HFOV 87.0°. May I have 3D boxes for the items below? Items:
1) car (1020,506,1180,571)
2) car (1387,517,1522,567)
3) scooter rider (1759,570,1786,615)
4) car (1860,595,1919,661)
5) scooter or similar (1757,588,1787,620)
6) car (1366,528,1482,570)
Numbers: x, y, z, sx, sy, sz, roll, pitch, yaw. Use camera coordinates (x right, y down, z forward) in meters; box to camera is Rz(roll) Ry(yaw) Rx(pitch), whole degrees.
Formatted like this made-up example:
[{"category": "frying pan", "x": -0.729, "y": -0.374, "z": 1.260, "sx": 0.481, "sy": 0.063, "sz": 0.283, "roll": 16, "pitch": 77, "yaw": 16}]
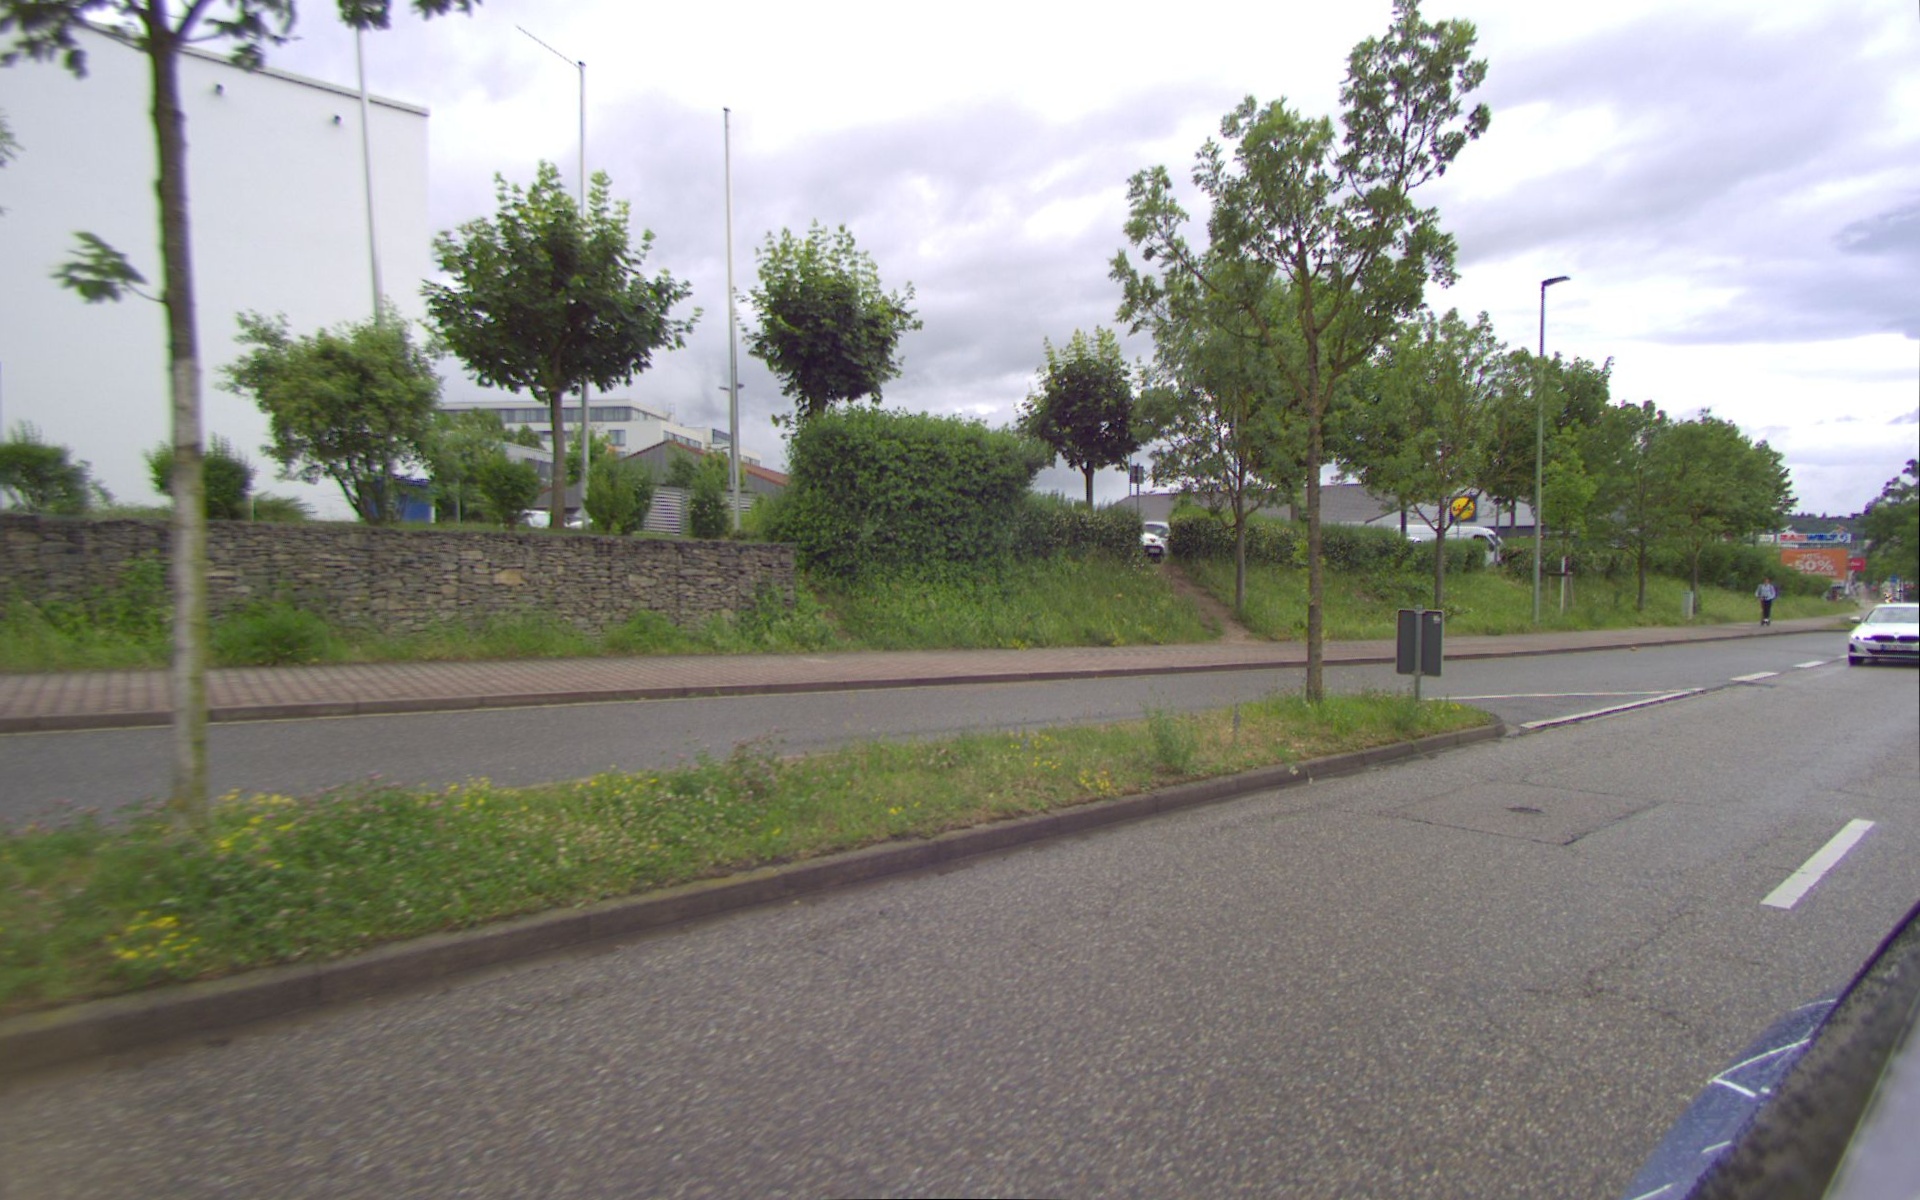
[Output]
[{"category": "car", "x": 4.020, "y": -1.817, "z": 29.575, "sx": 1.896, "sy": 1.648, "sz": 4.355, "roll": -1, "pitch": 5, "yaw": -43}, {"category": "car", "x": 24.643, "y": -2.940, "z": 50.624, "sx": 5.608, "sy": 2.167, "sz": 2.090, "roll": 7, "pitch": 5, "yaw": 42}, {"category": "scooter rider", "x": 34.536, "y": -0.321, "z": 43.011, "sx": 0.843, "sy": 1.842, "sz": 0.696, "roll": -1, "pitch": 4, "yaw": -42}, {"category": "car", "x": 22.995, "y": 0.607, "z": 24.074, "sx": 4.462, "sy": 1.458, "sz": 1.807, "roll": 0, "pitch": 0, "yaw": -41}, {"category": "scooter or similar", "x": 34.556, "y": 0.171, "z": 43.063, "sx": 1.377, "sy": 1.279, "sz": 0.696, "roll": -1, "pitch": 4, "yaw": -42}, {"category": "car", "x": 21.090, "y": -2.332, "z": 46.130, "sx": 4.351, "sy": 1.648, "sz": 1.898, "roll": 7, "pitch": 5, "yaw": 44}]
